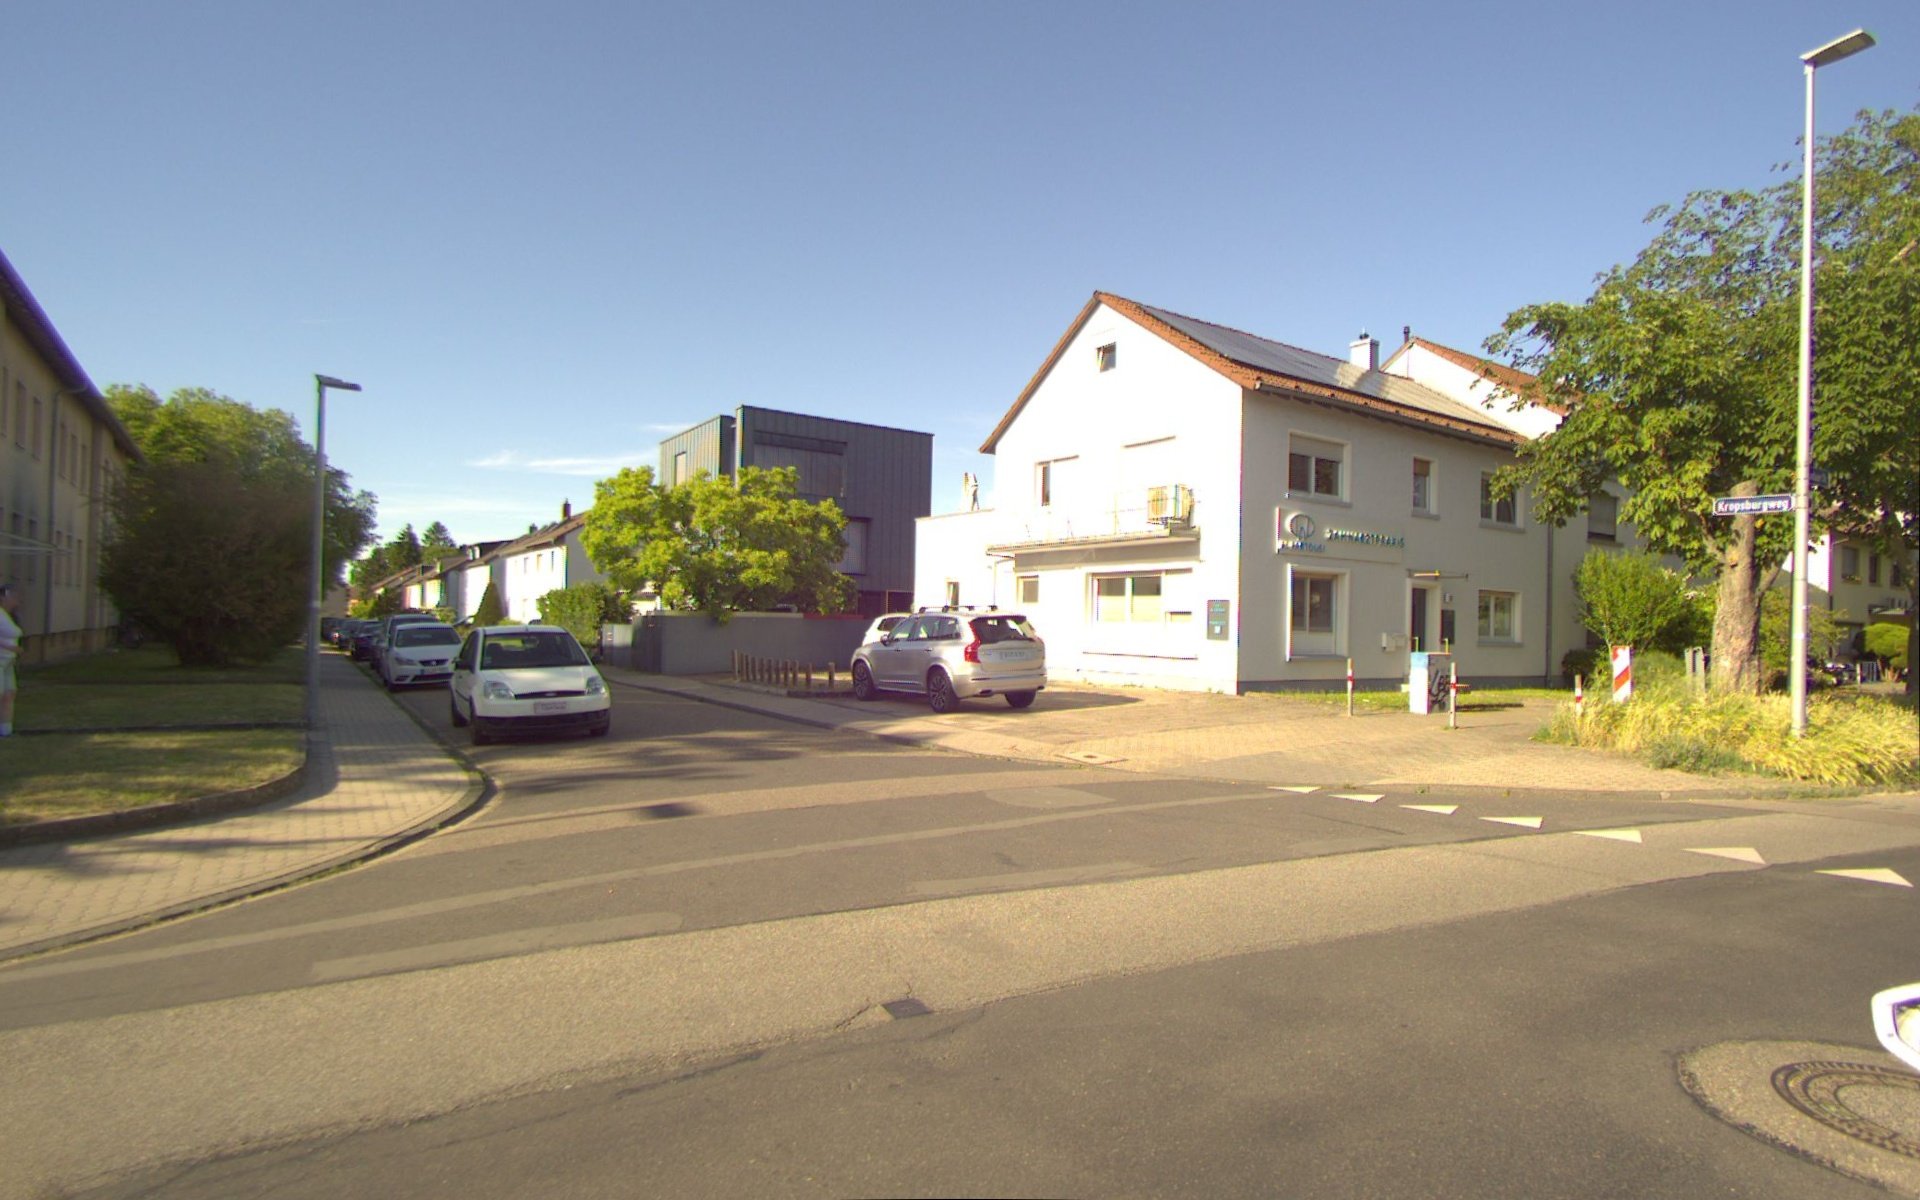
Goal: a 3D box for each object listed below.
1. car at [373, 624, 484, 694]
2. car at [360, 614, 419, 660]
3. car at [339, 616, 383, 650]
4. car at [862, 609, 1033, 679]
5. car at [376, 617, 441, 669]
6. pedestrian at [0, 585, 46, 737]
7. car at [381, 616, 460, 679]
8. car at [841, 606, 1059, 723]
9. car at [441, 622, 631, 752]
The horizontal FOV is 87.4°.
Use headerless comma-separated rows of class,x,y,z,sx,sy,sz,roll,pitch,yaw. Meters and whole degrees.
car,-12.179,1.274,22.920,1.851,1.415,3.743,0,-1,-34
car,-21.544,1.363,37.931,1.848,1.635,3.749,0,-1,-30
car,-30.479,1.668,51.213,1.848,1.635,3.749,0,-1,-30
car,-0.411,1.089,24.784,1.981,1.575,4.470,1,-3,-36
car,-18.874,1.420,34.340,1.848,1.635,3.749,0,-1,-30
pedestrian,-10.231,0.630,10.693,0.633,1.574,0.778,0,1,-34
car,-15.175,1.269,28.171,1.848,1.635,3.749,0,-1,-30
car,-0.333,1.081,18.839,1.979,1.862,4.463,-2,0,-33
car,-5.979,1.068,13.917,1.850,1.499,3.746,0,-1,-32
